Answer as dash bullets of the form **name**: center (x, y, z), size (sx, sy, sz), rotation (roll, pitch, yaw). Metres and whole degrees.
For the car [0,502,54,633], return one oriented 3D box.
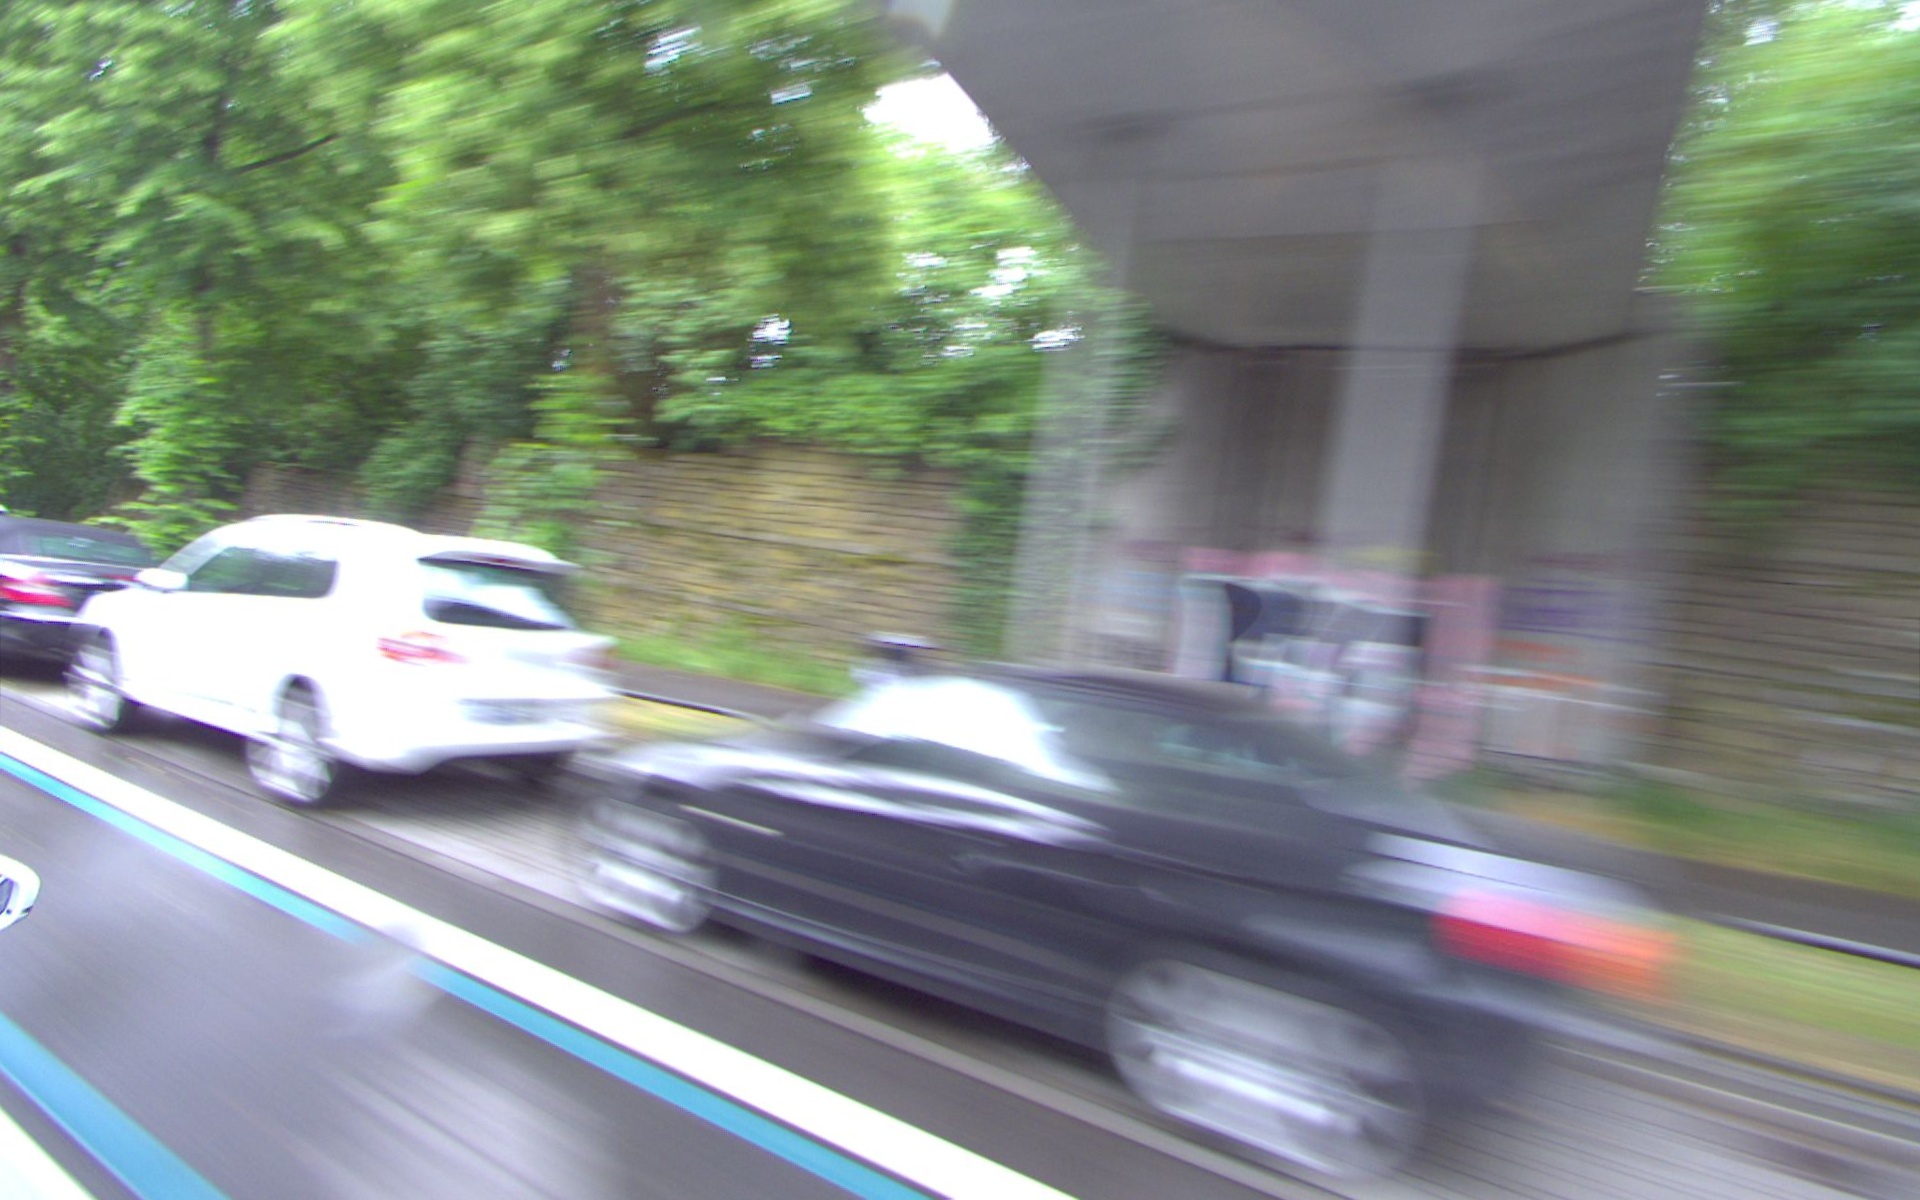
- **car**: center (-13.384, -0.602, 12.781), size (3.679, 1.552, 1.665), rotation (6, -2, 31)

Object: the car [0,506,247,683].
- **car**: center (-9.154, -0.131, 9.887), size (4.482, 1.392, 1.721), rotation (5, -2, 30)

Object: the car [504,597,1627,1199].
- **car**: center (0.186, 0.934, 4.441), size (4.375, 1.410, 1.676), rotation (5, -2, 30)

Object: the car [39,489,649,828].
- **car**: center (-4.413, 0.266, 7.075), size (4.188, 1.638, 1.717), rotation (6, -1, 29)
